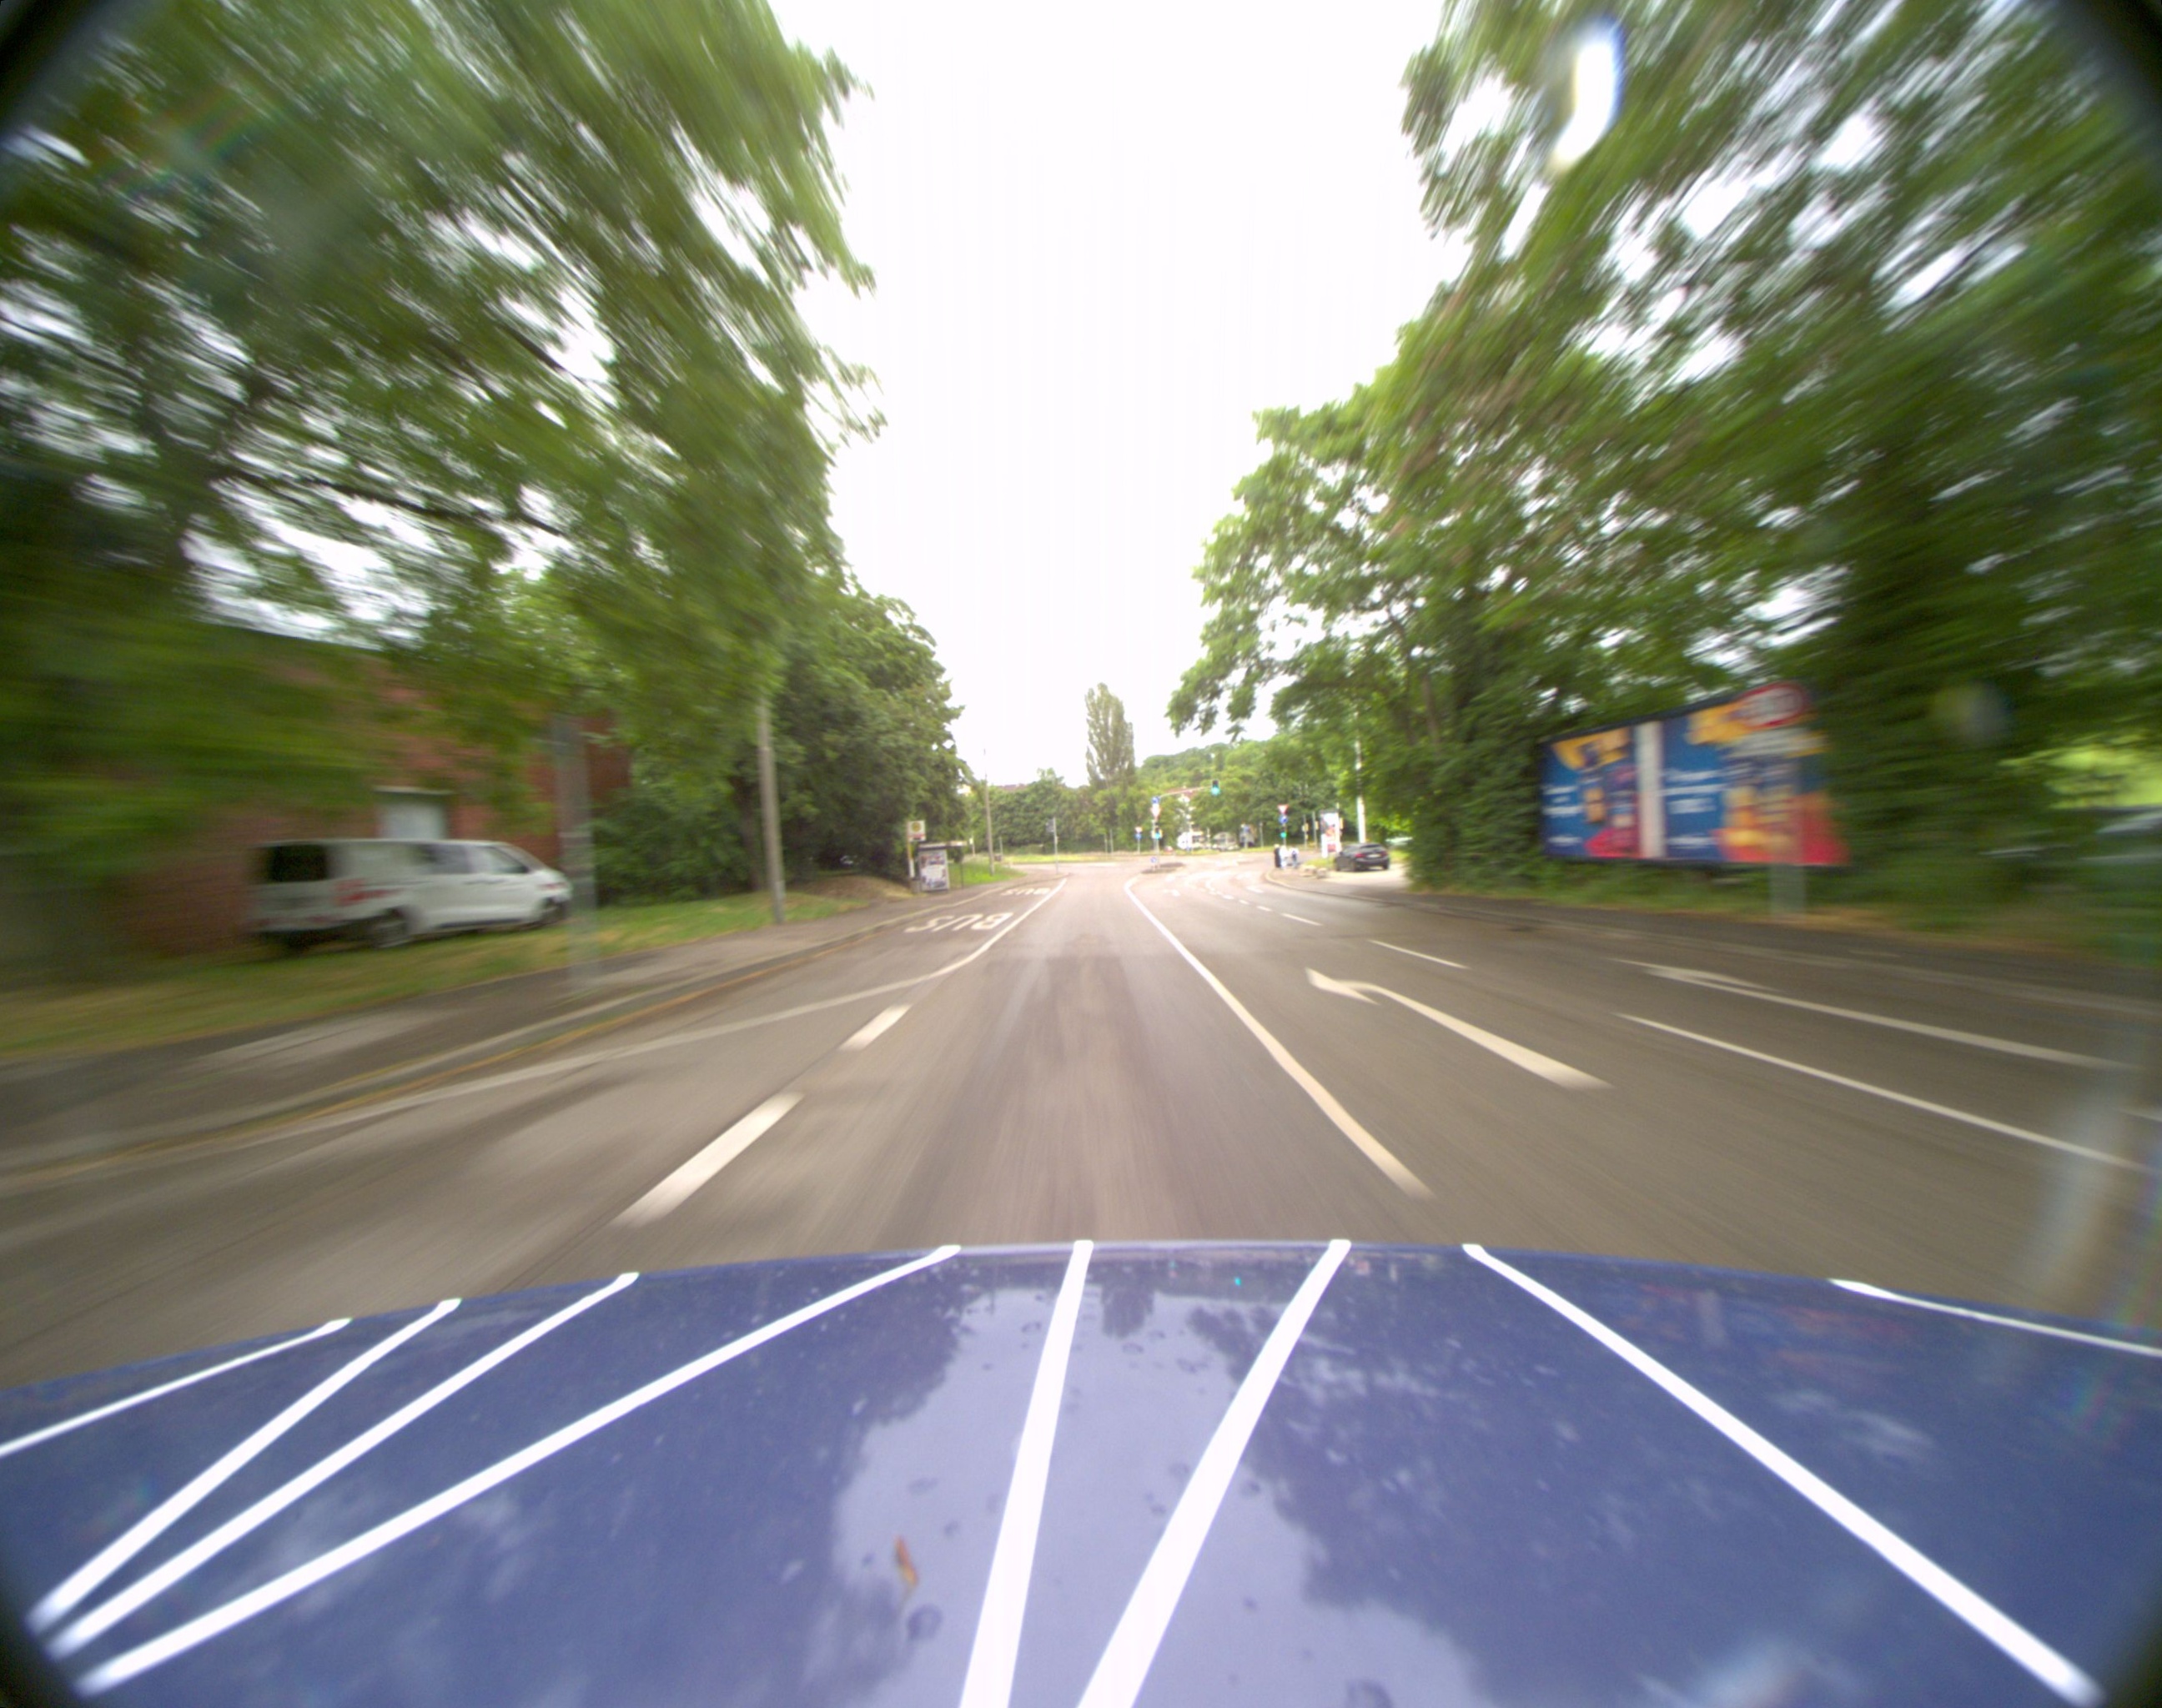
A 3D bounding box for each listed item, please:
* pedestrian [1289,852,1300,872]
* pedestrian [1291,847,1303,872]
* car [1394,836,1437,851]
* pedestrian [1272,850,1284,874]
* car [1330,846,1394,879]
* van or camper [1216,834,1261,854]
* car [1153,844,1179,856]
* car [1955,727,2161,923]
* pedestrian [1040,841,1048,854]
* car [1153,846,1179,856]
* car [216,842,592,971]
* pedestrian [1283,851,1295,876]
[{"bbox_3d":[16.584,0.625,58.984,0.592,1.523,0.669,-5,0,9],"label":"pedestrian"},{"bbox_3d":[14.394,0.371,50.705,0.657,1.592,0.678,-5,0,15],"label":"pedestrian"},{"bbox_3d":[39.270,-1.238,89.180,4.195,1.440,1.890,-3,1,9],"label":"car"},{"bbox_3d":[13.437,0.526,51.844,0.657,1.592,0.678,-5,0,15],"label":"pedestrian"},{"bbox_3d":[14.303,0.411,38.893,1.751,1.440,4.234,-5,0,2],"label":"car"},{"bbox_3d":[24.016,-1.569,115.783,6.424,2.739,2.431,-3,1,6],"label":"van or camper"},{"bbox_3d":[13.642,-0.649,122.152,3.996,1.540,1.678,-3,1,4],"label":"car"},{"bbox_3d":[15.318,-0.501,9.299,2.116,2.518,5.595,-5,0,-28],"label":"car"},{"bbox_3d":[-4.945,-0.857,101.039,0.682,1.597,0.810,-5,0,10],"label":"pedestrian"},{"bbox_3d":[13.427,-0.473,120.454,3.996,1.346,1.678,-3,1,4],"label":"car"},{"bbox_3d":[-11.950,0.792,14.110,1.998,1.794,5.148,-5,0,4],"label":"car"},{"bbox_3d":[13.975,0.641,51.026,0.606,1.592,0.678,-5,0,15],"label":"pedestrian"}]
